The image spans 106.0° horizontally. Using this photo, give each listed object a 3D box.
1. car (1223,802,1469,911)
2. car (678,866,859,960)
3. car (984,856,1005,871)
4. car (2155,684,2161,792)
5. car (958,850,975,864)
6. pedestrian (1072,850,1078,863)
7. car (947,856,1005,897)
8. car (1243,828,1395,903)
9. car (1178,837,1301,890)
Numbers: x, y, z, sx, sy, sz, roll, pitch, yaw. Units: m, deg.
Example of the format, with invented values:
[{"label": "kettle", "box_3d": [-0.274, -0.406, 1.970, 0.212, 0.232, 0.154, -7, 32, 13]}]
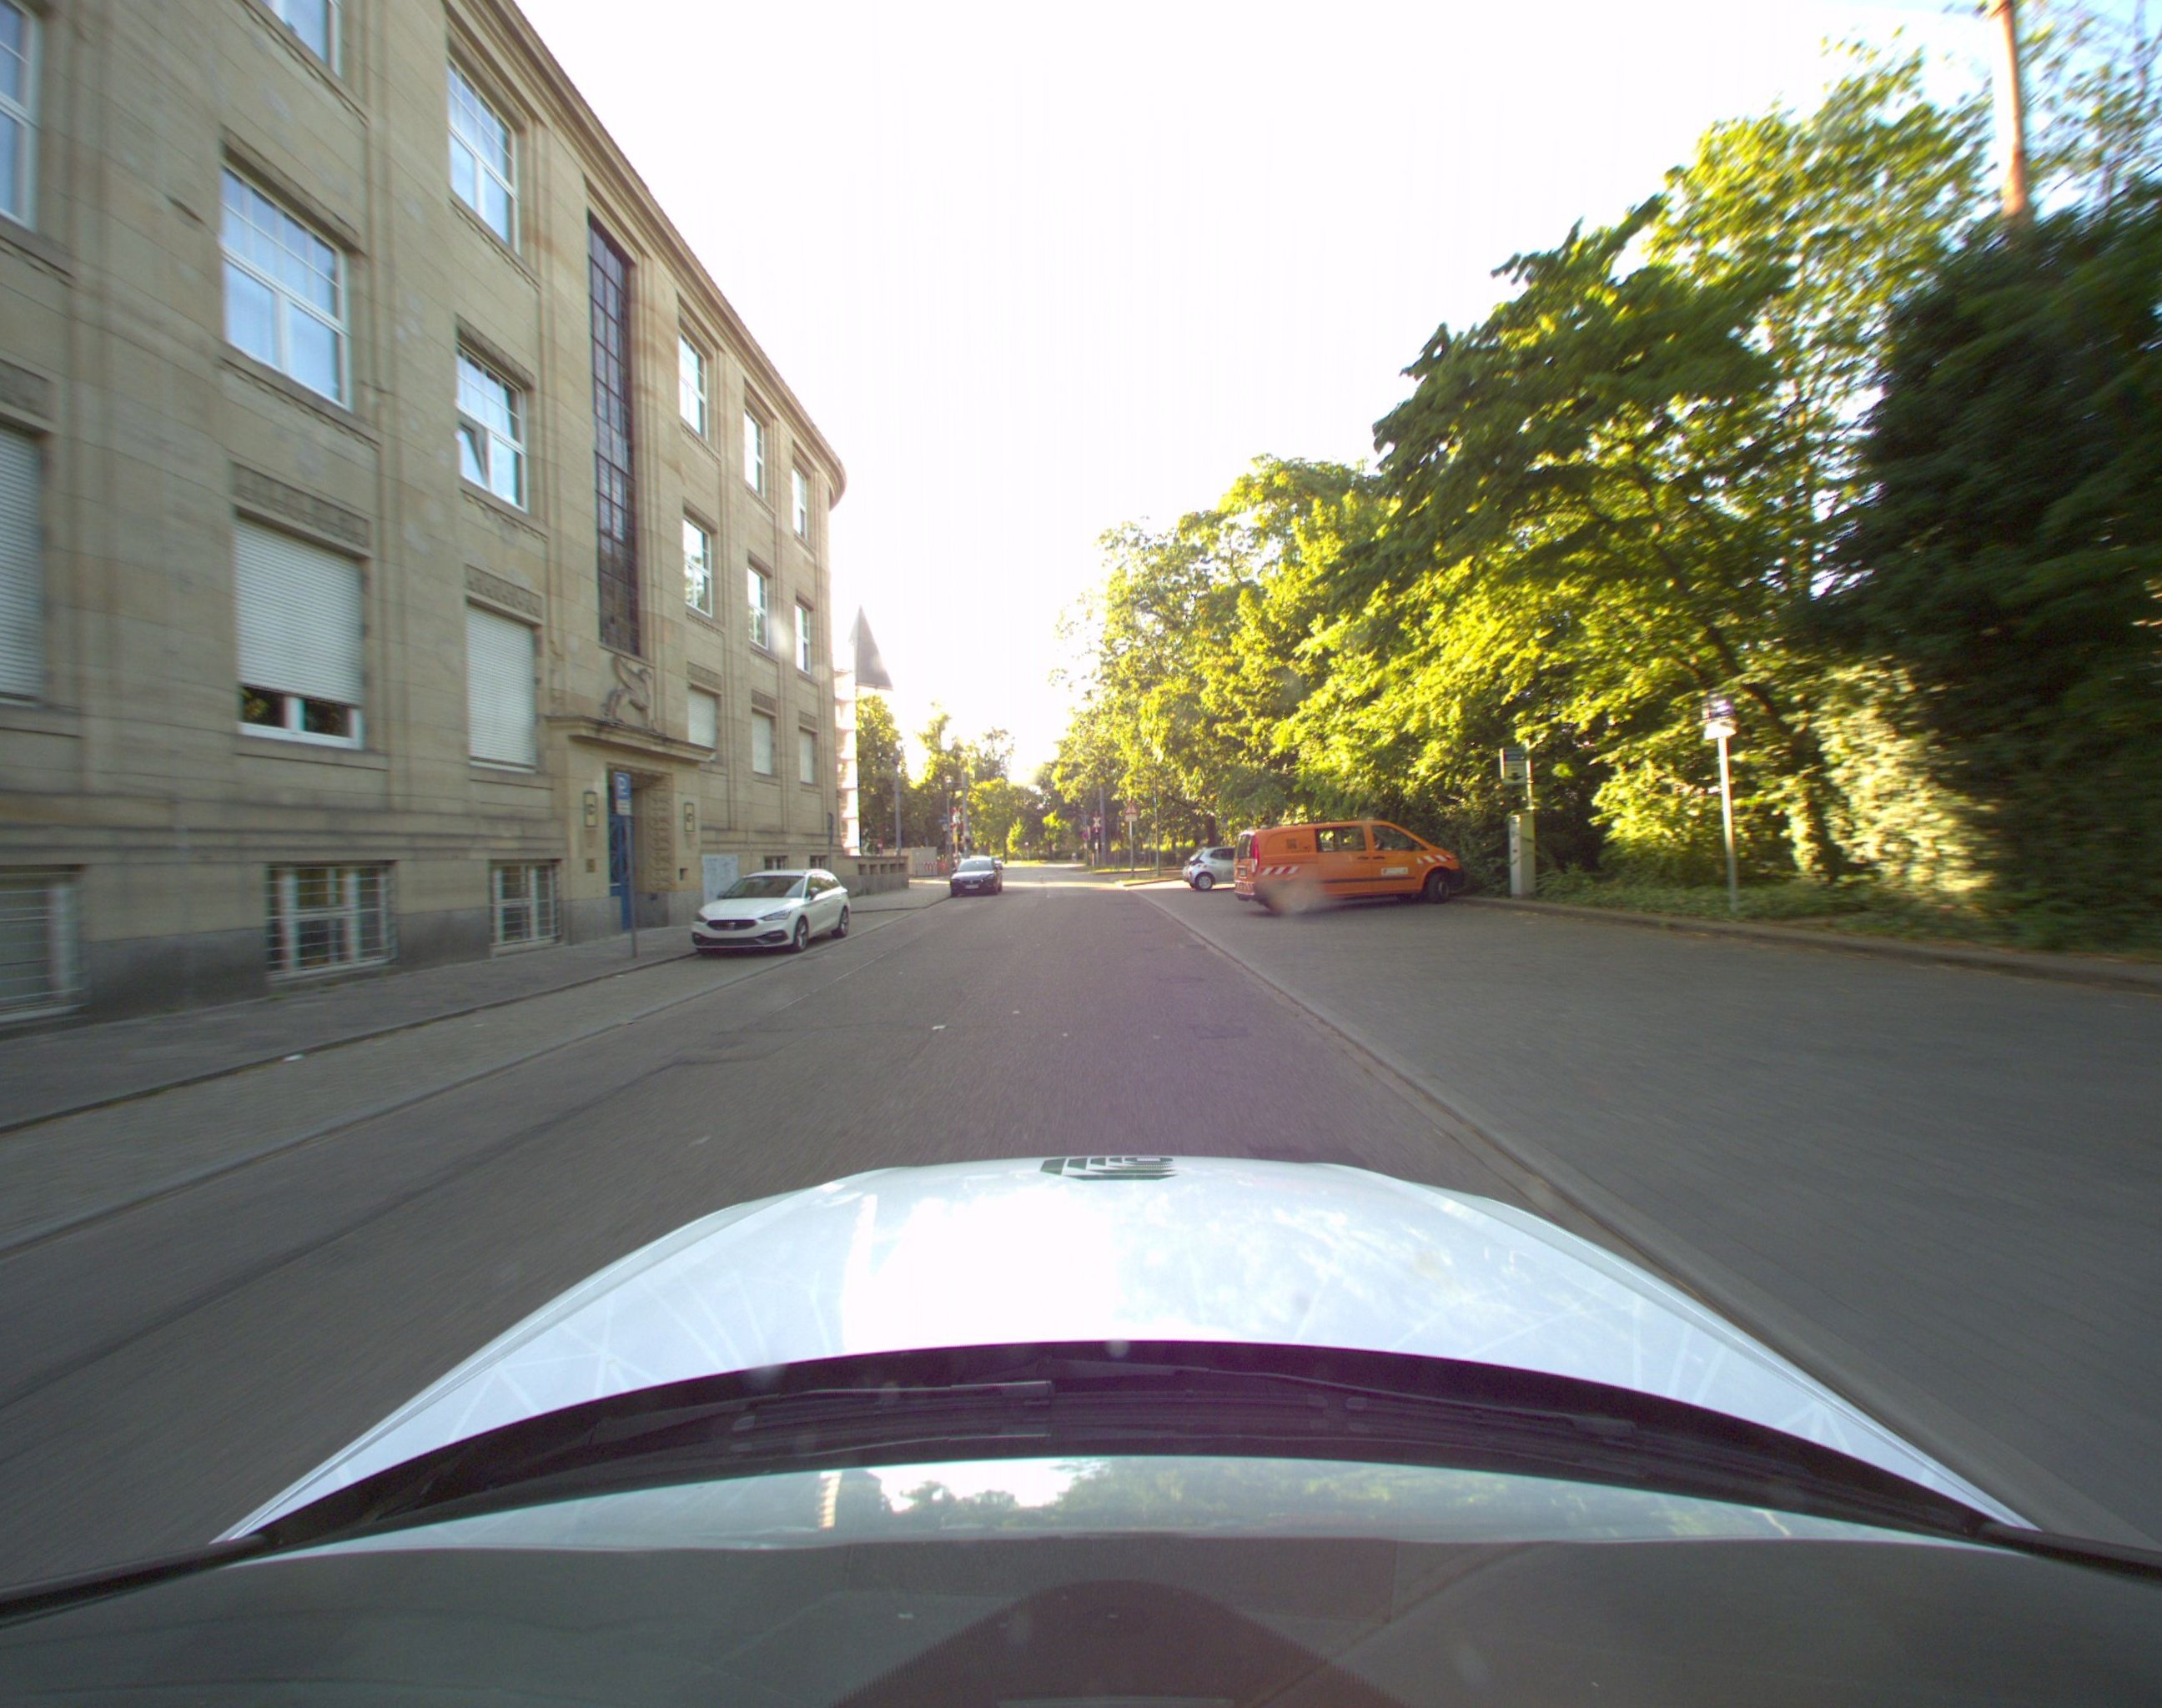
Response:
[{"label": "car", "box_3d": [5.901, 0.049, 18.520, 4.786, 1.997, 2.078, -4, 0, -4]}, {"label": "car", "box_3d": [-5.723, 0.997, 15.582, 1.739, 1.435, 4.558, -1, 0, -1]}, {"label": "car", "box_3d": [-9.104, 0.945, 85.879, 1.780, 1.415, 4.482, -4, 1, -10]}, {"label": "car", "box_3d": [5.718, 0.213, 1.763, 3.953, 1.863, 1.922, -4, 0, 4]}, {"label": "car", "box_3d": [-16.697, 0.417, 118.918, 1.854, 1.946, 4.816, -2, 0, -15]}, {"label": "pedestrian", "box_3d": [-0.788, 0.316, 105.898, 0.772, 1.574, 0.766, -2, 0, -5]}, {"label": "car", "box_3d": [-4.122, 0.859, 32.595, 1.738, 1.448, 4.207, -2, 0, 0]}, {"label": "car", "box_3d": [6.132, 0.279, 21.237, 3.385, 1.631, 1.679, -4, 0, 0]}, {"label": "car", "box_3d": [5.547, 0.334, 28.882, 3.973, 1.546, 1.735, -4, 0, 1]}]
